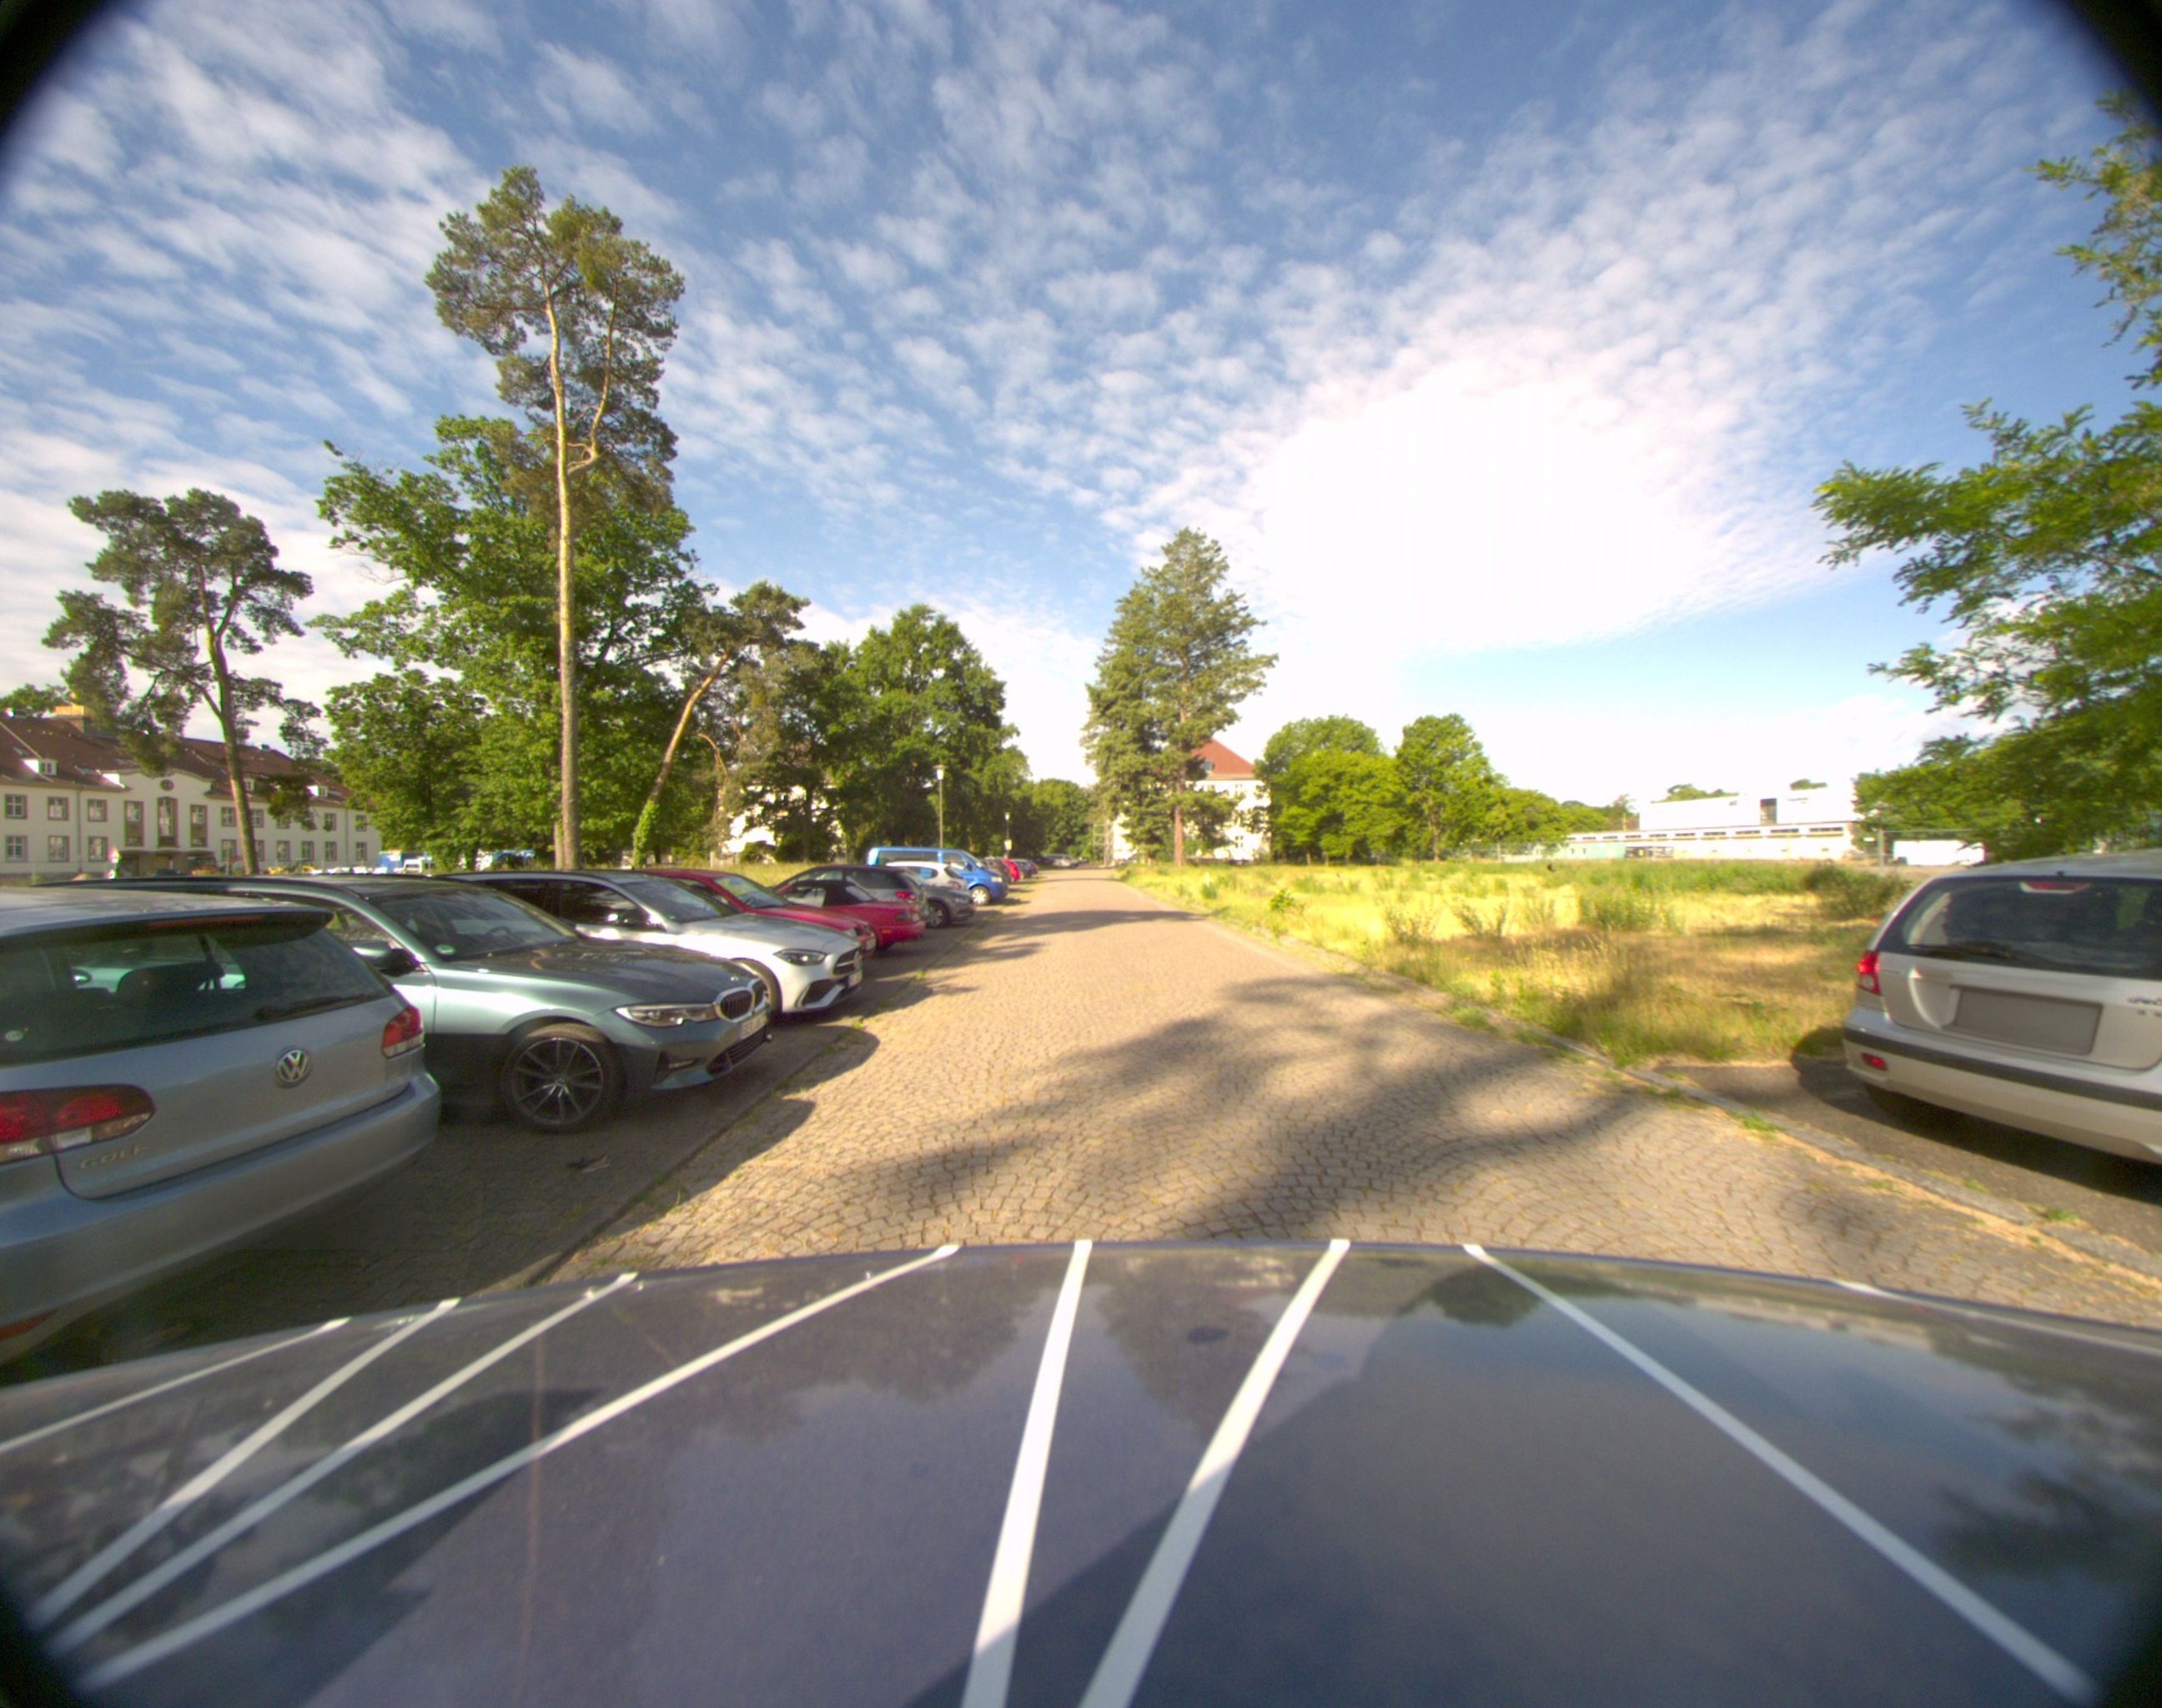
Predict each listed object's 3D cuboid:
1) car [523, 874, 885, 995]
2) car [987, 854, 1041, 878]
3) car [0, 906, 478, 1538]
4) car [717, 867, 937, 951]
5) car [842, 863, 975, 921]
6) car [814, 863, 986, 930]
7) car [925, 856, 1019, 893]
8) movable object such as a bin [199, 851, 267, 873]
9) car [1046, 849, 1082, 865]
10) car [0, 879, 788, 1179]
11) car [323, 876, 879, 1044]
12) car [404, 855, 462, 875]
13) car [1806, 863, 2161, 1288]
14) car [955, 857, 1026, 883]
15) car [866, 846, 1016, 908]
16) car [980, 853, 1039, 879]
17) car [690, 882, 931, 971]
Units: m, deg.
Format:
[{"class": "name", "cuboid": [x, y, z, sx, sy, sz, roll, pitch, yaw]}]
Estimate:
[{"class": "car", "cuboid": [-4.753, 0.997, 9.999, 3.918, 1.385, 1.660, 1, 0, -1]}, {"class": "car", "cuboid": [-5.295, 0.977, 60.429, 3.996, 1.605, 1.757, -3, 1, 4]}, {"class": "car", "cuboid": [-4.687, 0.956, 2.401, 4.026, 1.452, 1.870, 0, 0, -1]}, {"class": "car", "cuboid": [-4.867, 1.042, 14.925, 3.779, 1.482, 1.549, -1, 1, -1]}, {"class": "car", "cuboid": [-4.651, 1.012, 20.764, 3.264, 1.482, 1.449, -1, 1, 2]}, {"class": "car", "cuboid": [-4.217, 0.969, 17.914, 3.621, 1.482, 1.509, -1, 1, 9]}, {"class": "car", "cuboid": [-4.993, 0.916, 35.080, 3.996, 1.630, 1.757, -1, 1, 2]}, {"class": "movable object such as a bin", "cuboid": [-91.545, 0.869, 82.135, 1.999, 2.309, 4.985, -1, 0, -4]}, {"class": "car", "cuboid": [-2.470, 0.390, 109.108, 5.068, 2.251, 2.000, -1, 1, -1]}, {"class": "car", "cuboid": [-4.528, 0.967, 4.995, 4.507, 1.508, 1.825, 0, 0, -4]}, {"class": "car", "cuboid": [-4.499, 0.977, 7.684, 4.423, 1.394, 1.826, 1, 0, -2]}, {"class": "car", "cuboid": [-69.453, 1.165, 81.532, 1.998, 2.002, 4.772, -1, 0, 0]}, {"class": "car", "cuboid": [5.758, 0.809, 3.426, 3.474, 1.462, 1.636, -3, 1, -3]}, {"class": "car", "cuboid": [-5.383, 0.941, 45.437, 3.996, 1.509, 1.757, -1, 1, 2]}, {"class": "car", "cuboid": [-4.726, 0.748, 26.145, 4.726, 2.002, 2.000, -1, 1, 1]}, {"class": "car", "cuboid": [-5.191, 0.836, 55.624, 3.996, 1.731, 1.757, -2, 0, 2]}, {"class": "car", "cuboid": [-4.254, 1.127, 12.286, 3.357, 1.248, 1.419, -1, 1, -1]}]
